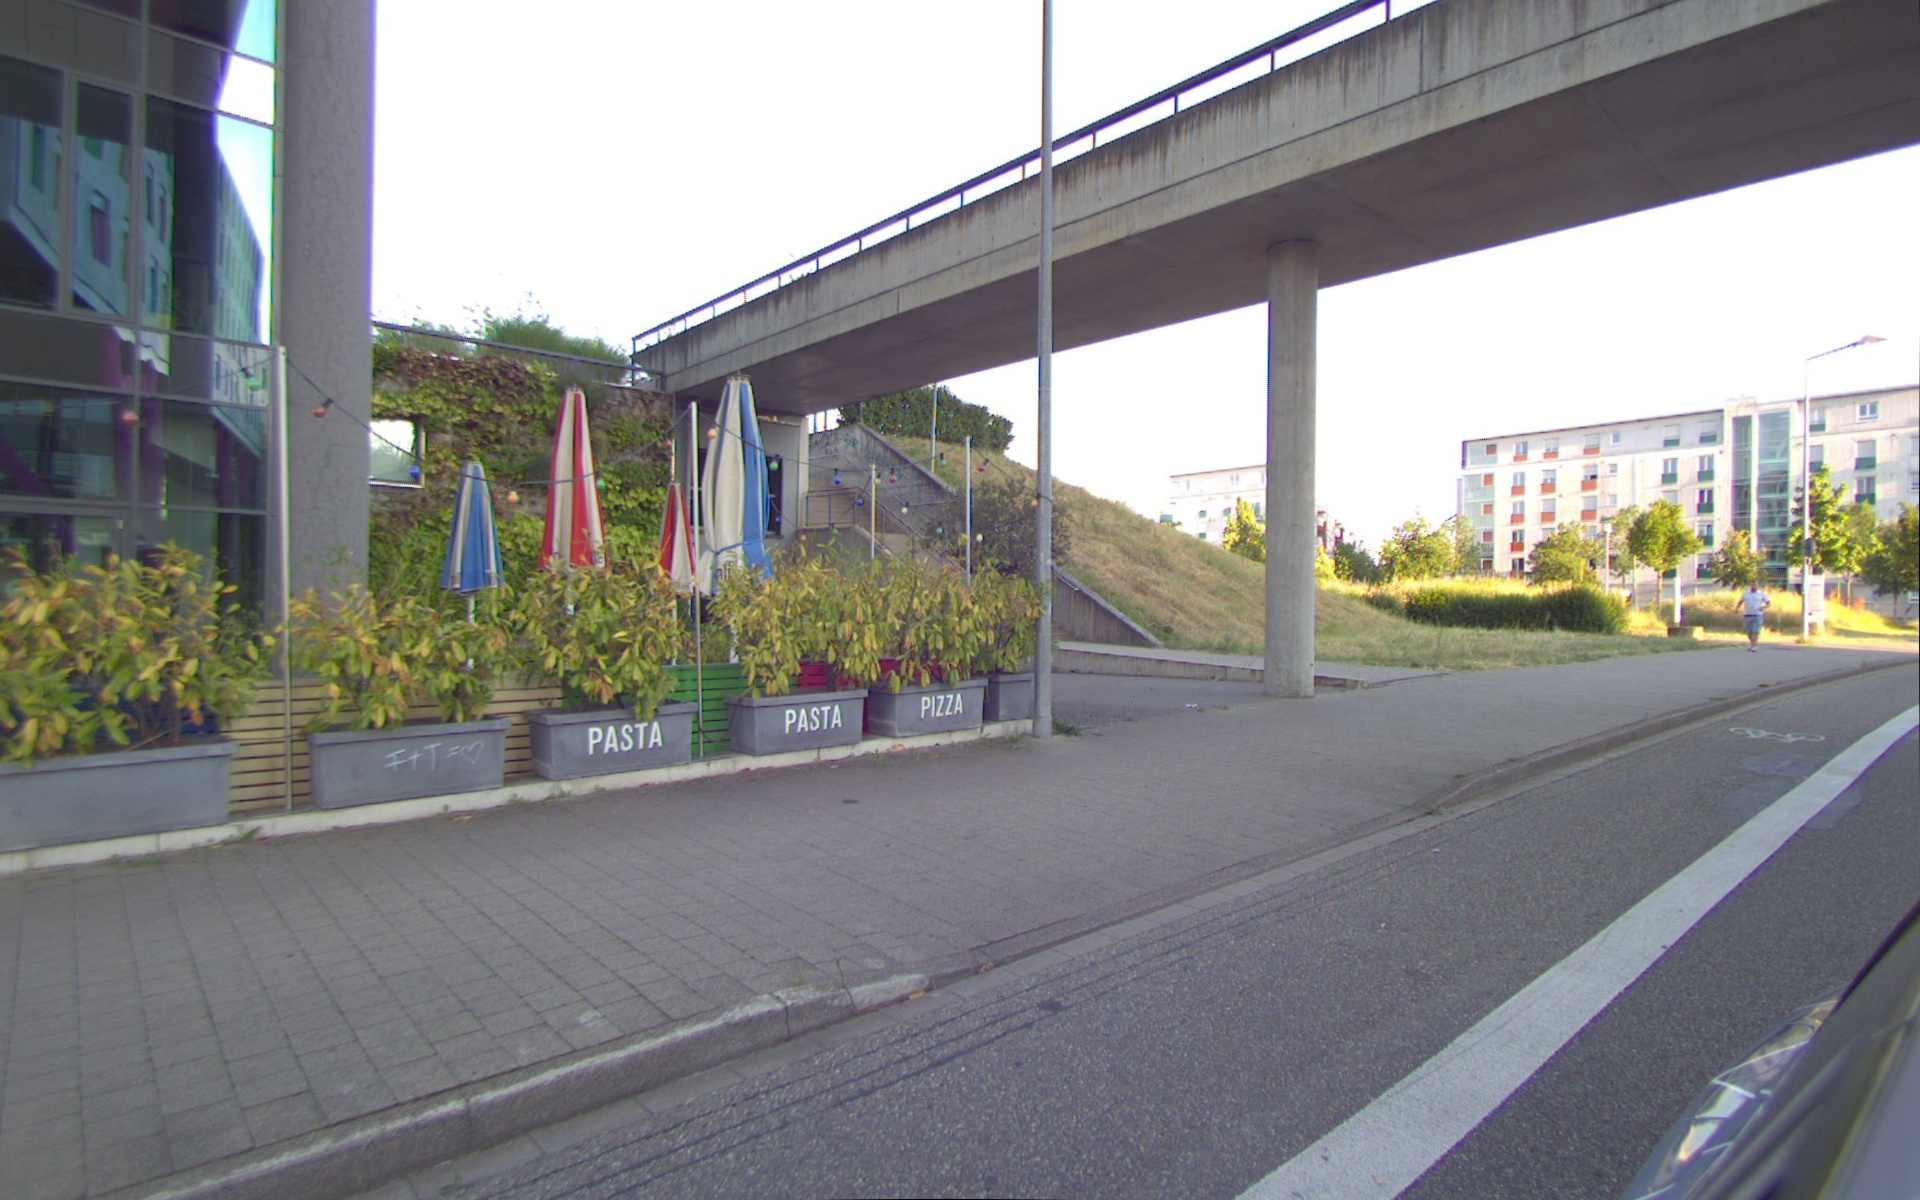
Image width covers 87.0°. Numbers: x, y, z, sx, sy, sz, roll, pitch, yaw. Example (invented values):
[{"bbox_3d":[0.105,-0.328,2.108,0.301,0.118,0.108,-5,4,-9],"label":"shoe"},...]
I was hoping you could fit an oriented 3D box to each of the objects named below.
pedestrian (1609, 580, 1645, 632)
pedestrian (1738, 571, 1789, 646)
[{"bbox_3d":[22.024,0.188,33.410,0.844,1.650,0.737,1,2,-40],"label":"pedestrian"},{"bbox_3d":[19.389,0.189,24.422,0.890,1.745,0.737,1,2,-40],"label":"pedestrian"}]
